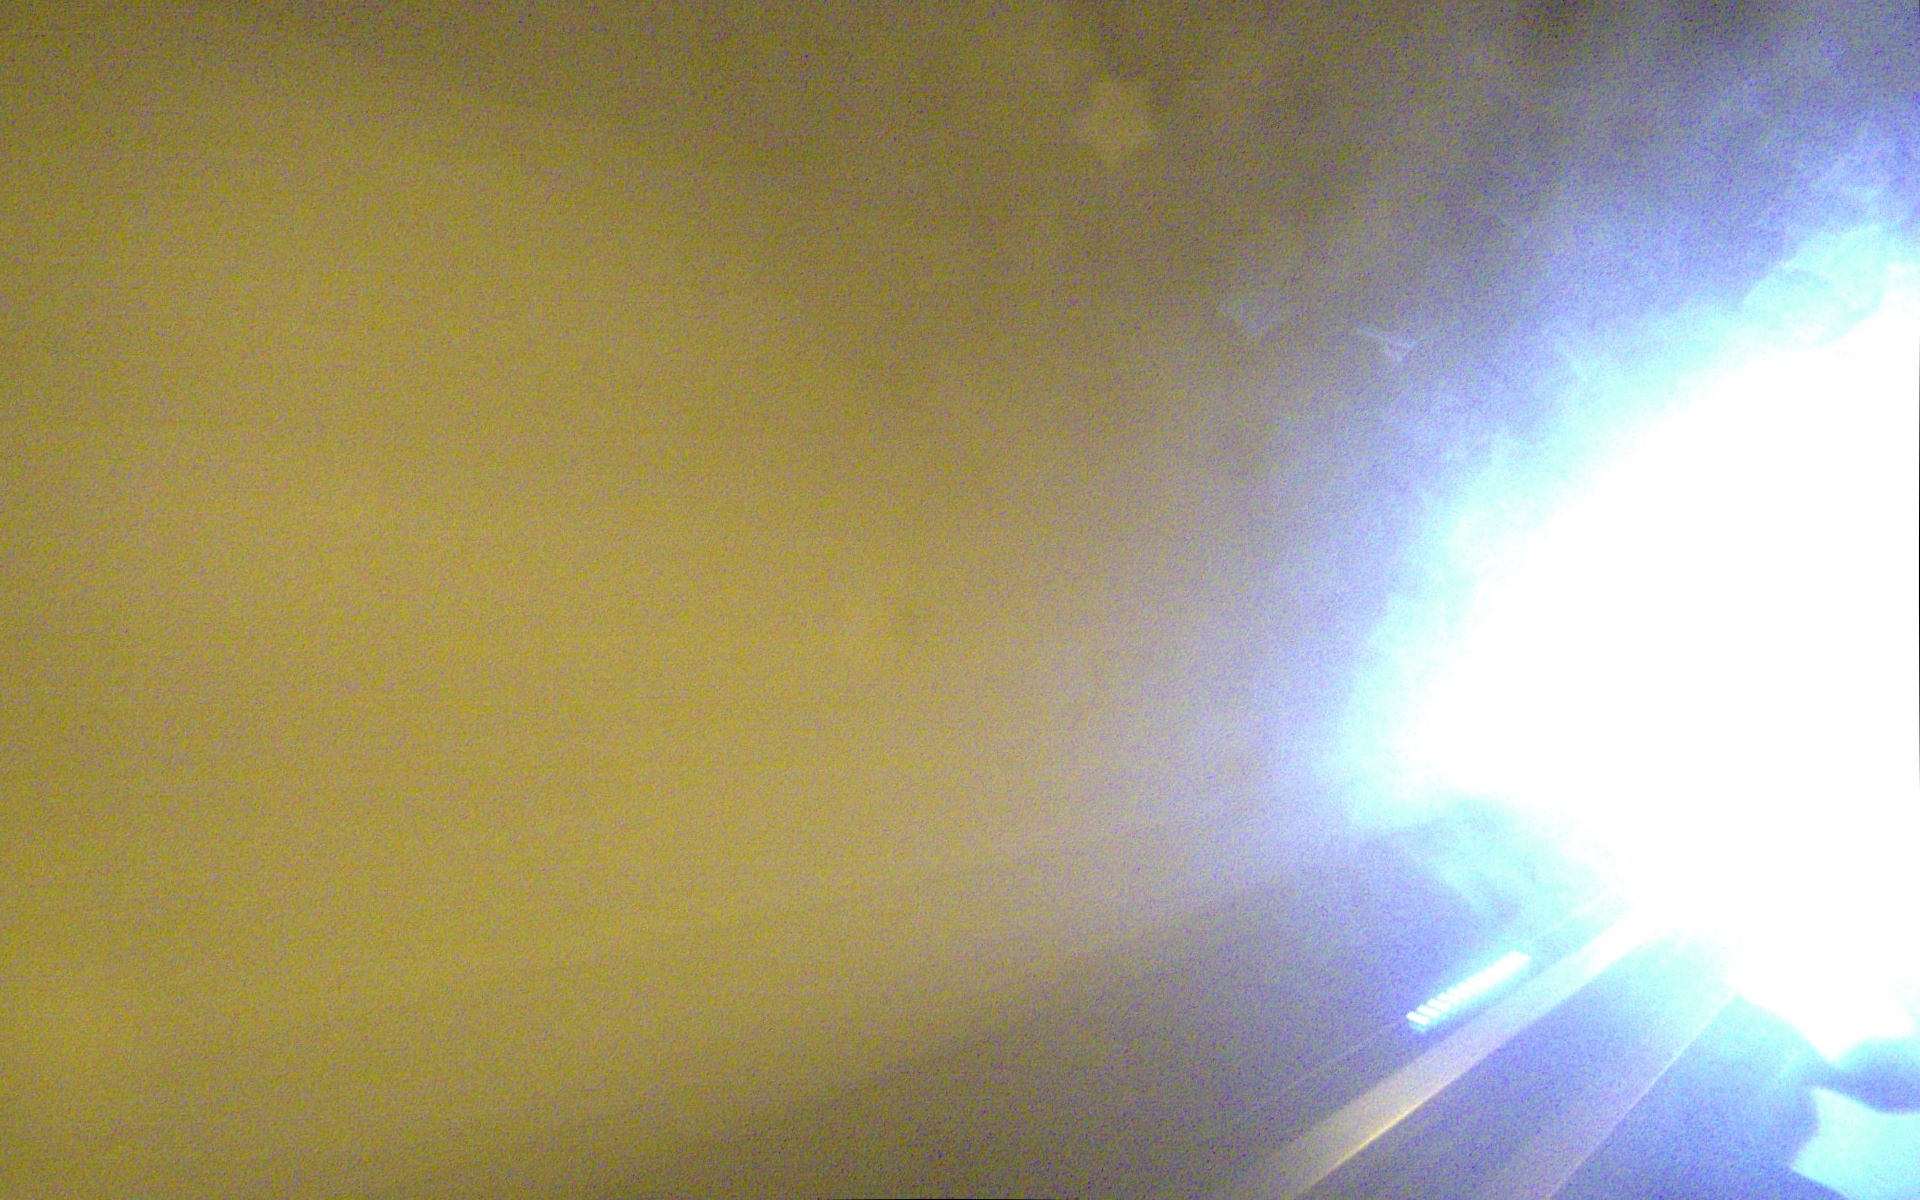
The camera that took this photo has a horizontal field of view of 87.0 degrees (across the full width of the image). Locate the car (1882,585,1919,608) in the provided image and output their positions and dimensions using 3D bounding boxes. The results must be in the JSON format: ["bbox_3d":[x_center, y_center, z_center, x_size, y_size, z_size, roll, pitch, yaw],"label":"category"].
[{"bbox_3d":[73.949,-0.294,79.336,1.696,1.794,3.956,0,1,31],"label":"car"}]
